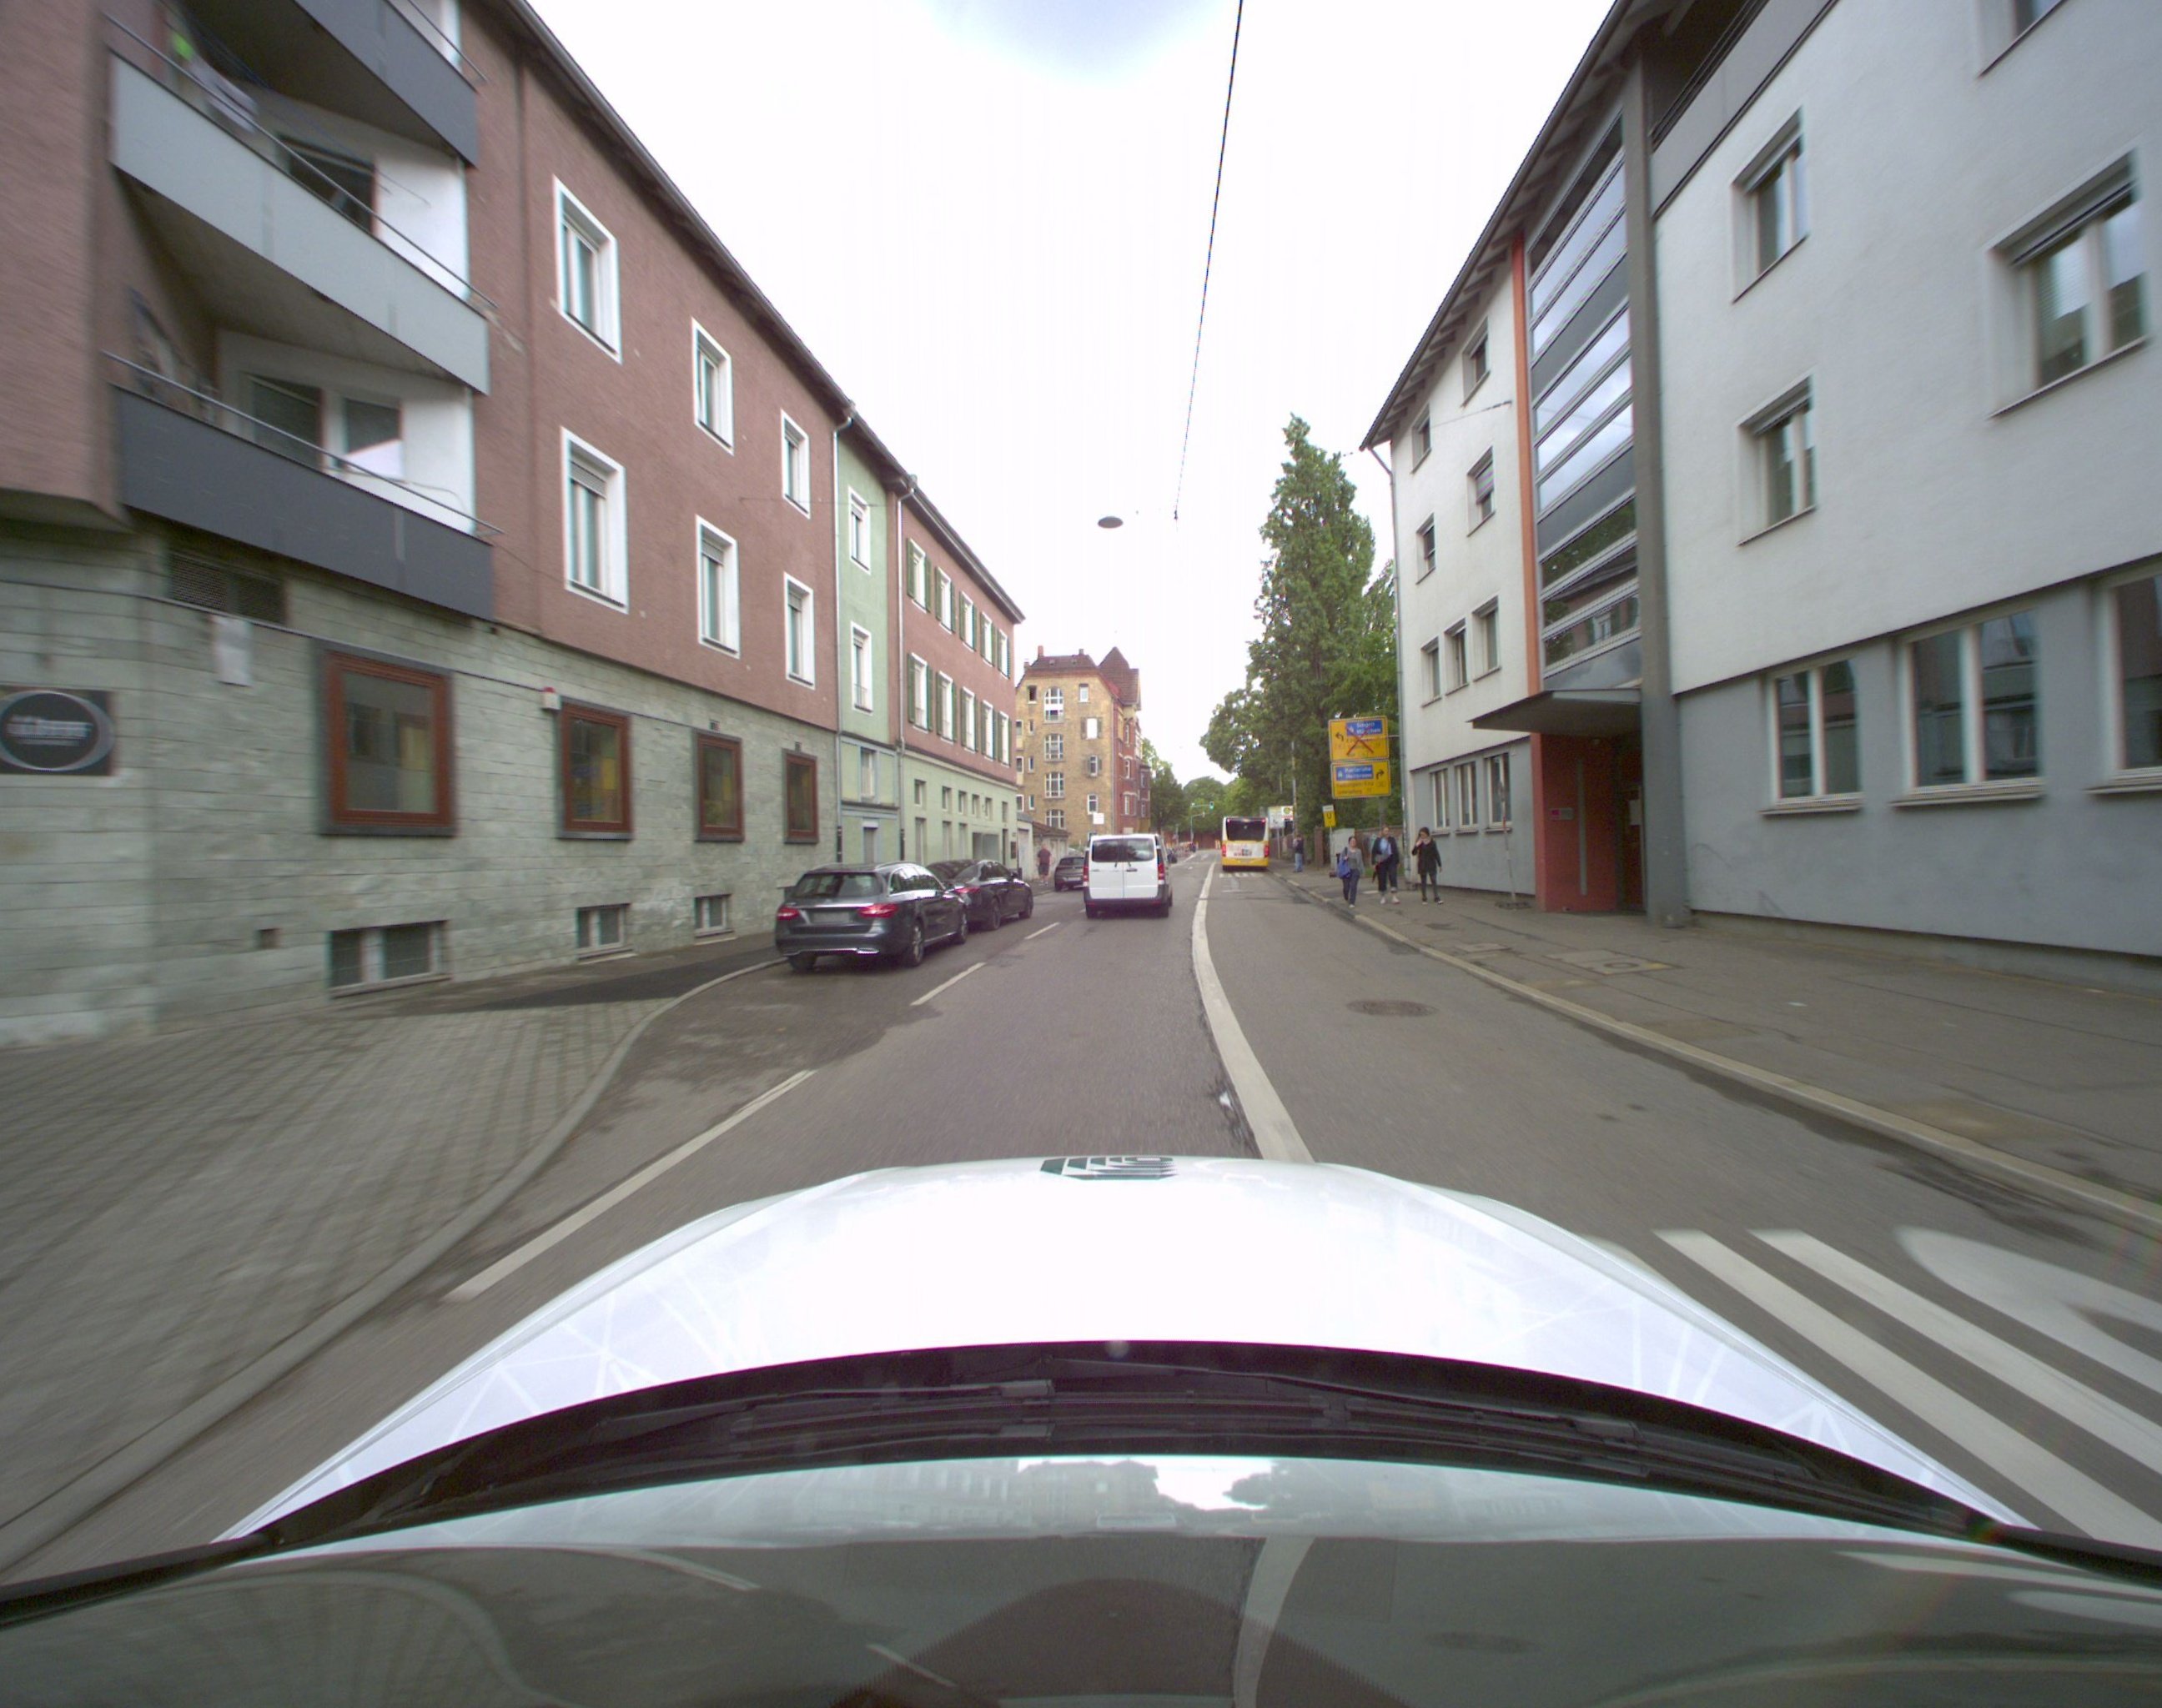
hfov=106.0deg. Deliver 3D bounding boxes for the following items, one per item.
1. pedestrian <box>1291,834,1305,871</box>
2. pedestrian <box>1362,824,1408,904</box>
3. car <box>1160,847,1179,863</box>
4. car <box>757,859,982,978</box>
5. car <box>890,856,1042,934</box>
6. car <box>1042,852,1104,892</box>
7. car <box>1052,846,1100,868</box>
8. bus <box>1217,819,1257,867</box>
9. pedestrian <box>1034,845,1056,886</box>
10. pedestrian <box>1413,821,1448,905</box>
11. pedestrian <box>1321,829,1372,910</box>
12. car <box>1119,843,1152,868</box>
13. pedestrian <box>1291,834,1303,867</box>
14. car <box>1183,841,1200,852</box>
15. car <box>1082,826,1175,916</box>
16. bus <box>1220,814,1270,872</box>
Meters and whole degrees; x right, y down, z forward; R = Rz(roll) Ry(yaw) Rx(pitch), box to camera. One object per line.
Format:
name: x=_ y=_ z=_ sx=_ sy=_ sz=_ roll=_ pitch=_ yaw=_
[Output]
pedestrian: x=10.559 y=-0.058 z=39.577 sx=0.578 sy=1.779 sz=0.823 roll=0 pitch=0 yaw=9
pedestrian: x=7.038 y=0.219 z=18.889 sx=0.684 sy=1.756 sz=0.879 roll=-4 pitch=1 yaw=3
car: x=9.494 y=0.107 z=87.148 sx=1.714 sy=1.485 sz=4.405 roll=-1 pitch=2 yaw=11
car: x=-2.933 y=0.828 z=12.477 sx=1.820 sy=1.455 sz=4.591 roll=-2 pitch=-1 yaw=6
car: x=-2.322 y=0.792 z=17.972 sx=1.817 sy=1.455 sz=4.935 roll=-2 pitch=-1 yaw=10
car: x=-0.245 y=0.707 z=34.015 sx=1.867 sy=1.486 sz=4.139 roll=0 pitch=1 yaw=10
car: x=-0.413 y=0.214 z=67.024 sx=3.574 sy=1.612 sz=1.693 roll=-3 pitch=0 yaw=10
bus: x=11.214 y=-0.783 z=58.813 sx=2.655 sy=3.138 sz=9.244 roll=0 pitch=1 yaw=10
pedestrian: x=-1.544 y=0.478 z=35.187 sx=0.757 sy=1.744 sz=0.986 roll=0 pitch=-1 yaw=7
pedestrian: x=7.549 y=0.184 z=17.602 sx=0.538 sy=1.756 sz=0.611 roll=-4 pitch=1 yaw=17
pedestrian: x=6.139 y=0.340 z=18.884 sx=0.799 sy=1.793 sz=0.943 roll=-4 pitch=1 yaw=3
car: x=4.133 y=0.048 z=60.941 sx=1.942 sy=1.733 sz=4.787 roll=-1 pitch=1 yaw=10
pedestrian: x=12.186 y=-0.193 z=45.978 sx=0.447 sy=1.779 sz=0.673 roll=-4 pitch=-1 yaw=9
car: x=16.944 y=-1.128 z=124.816 sx=2.029 sy=1.485 sz=4.393 roll=-1 pitch=2 yaw=2
car: x=1.286 y=0.406 z=19.789 sx=1.907 sy=1.902 sz=4.710 roll=1 pitch=-1 yaw=7
bus: x=9.797 y=-0.679 z=49.218 sx=2.646 sy=3.136 sz=10.069 roll=0 pitch=1 yaw=10
